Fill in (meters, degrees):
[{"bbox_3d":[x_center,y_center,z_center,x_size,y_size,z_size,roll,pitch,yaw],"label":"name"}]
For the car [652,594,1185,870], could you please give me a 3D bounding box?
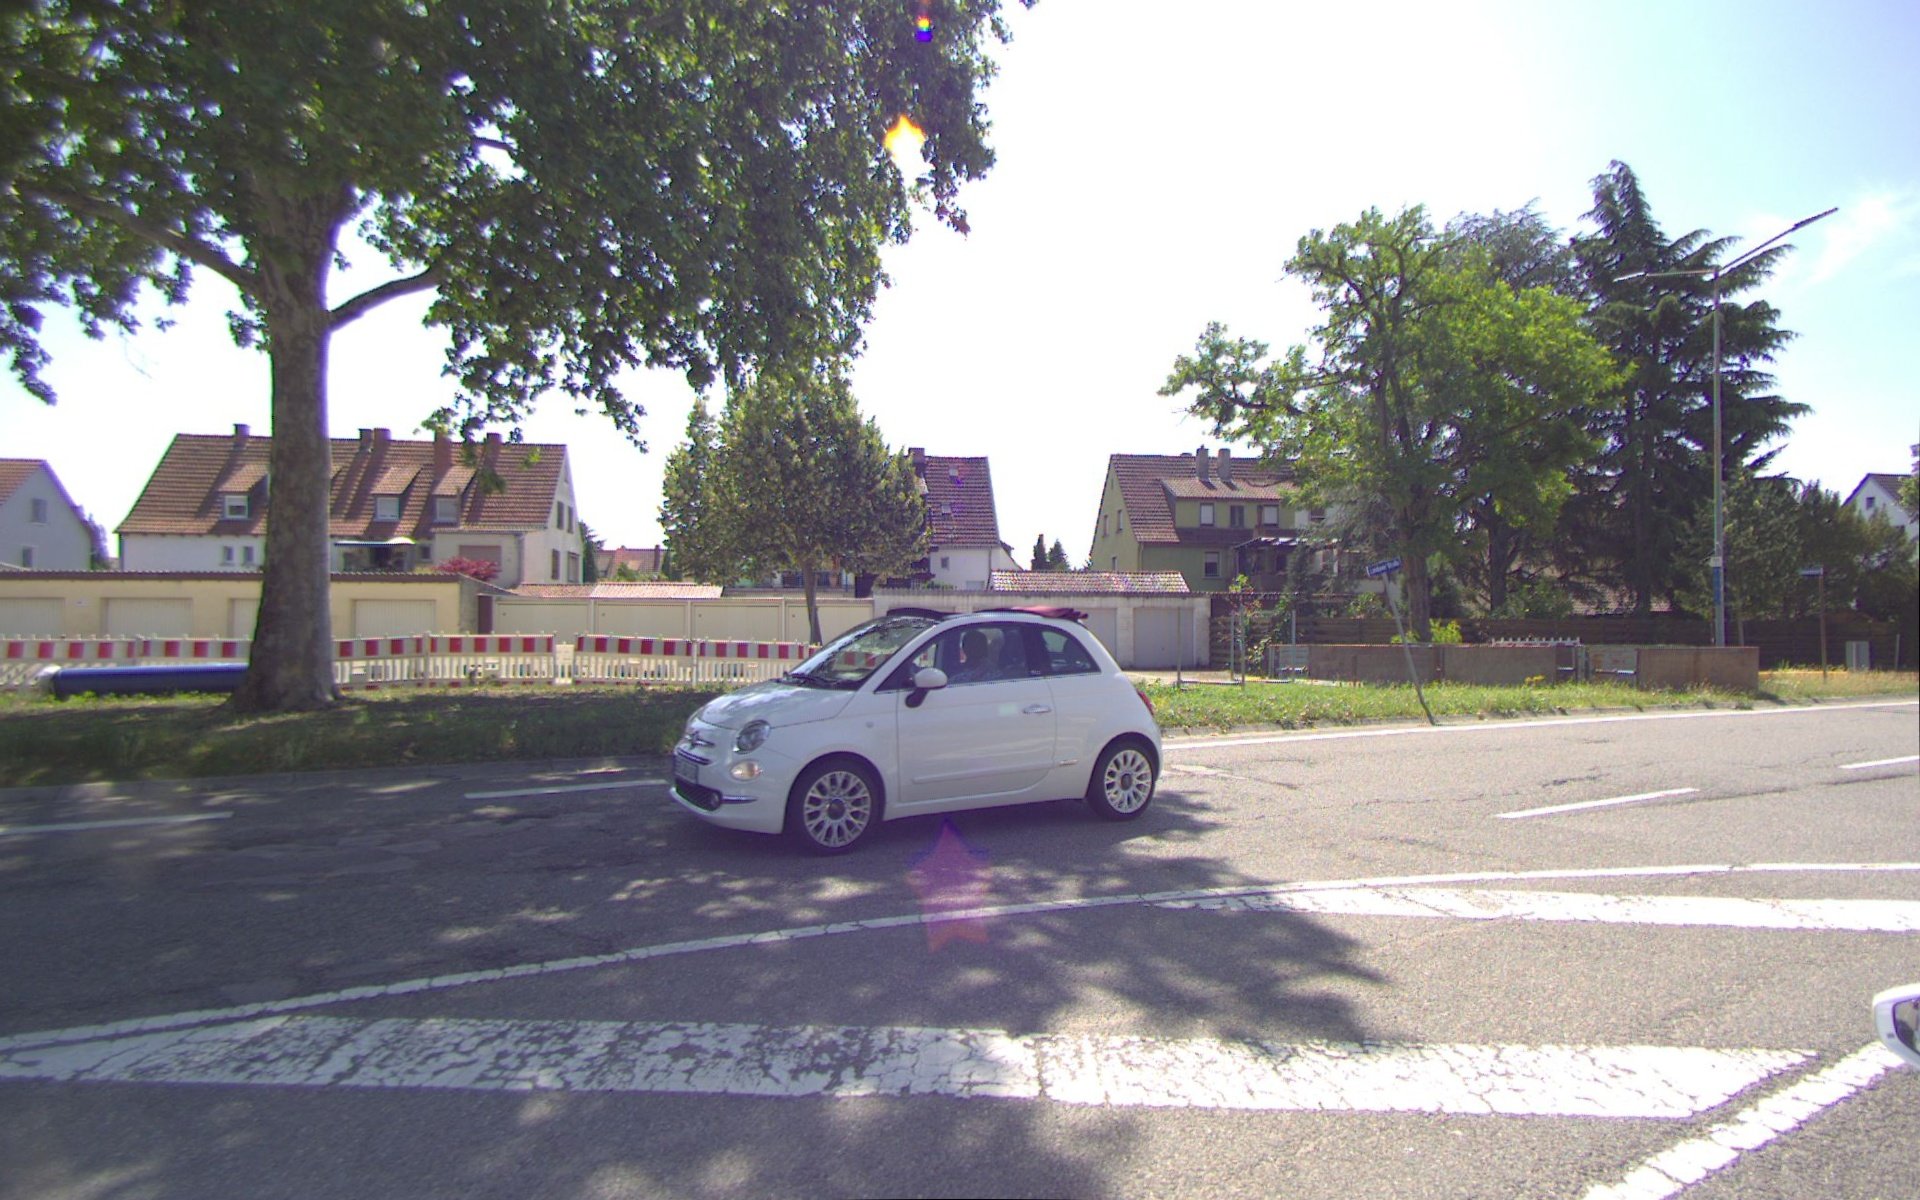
[{"bbox_3d":[-0.253,0.759,7.180,3.419,1.530,1.690,1,0,-31],"label":"car"}]
